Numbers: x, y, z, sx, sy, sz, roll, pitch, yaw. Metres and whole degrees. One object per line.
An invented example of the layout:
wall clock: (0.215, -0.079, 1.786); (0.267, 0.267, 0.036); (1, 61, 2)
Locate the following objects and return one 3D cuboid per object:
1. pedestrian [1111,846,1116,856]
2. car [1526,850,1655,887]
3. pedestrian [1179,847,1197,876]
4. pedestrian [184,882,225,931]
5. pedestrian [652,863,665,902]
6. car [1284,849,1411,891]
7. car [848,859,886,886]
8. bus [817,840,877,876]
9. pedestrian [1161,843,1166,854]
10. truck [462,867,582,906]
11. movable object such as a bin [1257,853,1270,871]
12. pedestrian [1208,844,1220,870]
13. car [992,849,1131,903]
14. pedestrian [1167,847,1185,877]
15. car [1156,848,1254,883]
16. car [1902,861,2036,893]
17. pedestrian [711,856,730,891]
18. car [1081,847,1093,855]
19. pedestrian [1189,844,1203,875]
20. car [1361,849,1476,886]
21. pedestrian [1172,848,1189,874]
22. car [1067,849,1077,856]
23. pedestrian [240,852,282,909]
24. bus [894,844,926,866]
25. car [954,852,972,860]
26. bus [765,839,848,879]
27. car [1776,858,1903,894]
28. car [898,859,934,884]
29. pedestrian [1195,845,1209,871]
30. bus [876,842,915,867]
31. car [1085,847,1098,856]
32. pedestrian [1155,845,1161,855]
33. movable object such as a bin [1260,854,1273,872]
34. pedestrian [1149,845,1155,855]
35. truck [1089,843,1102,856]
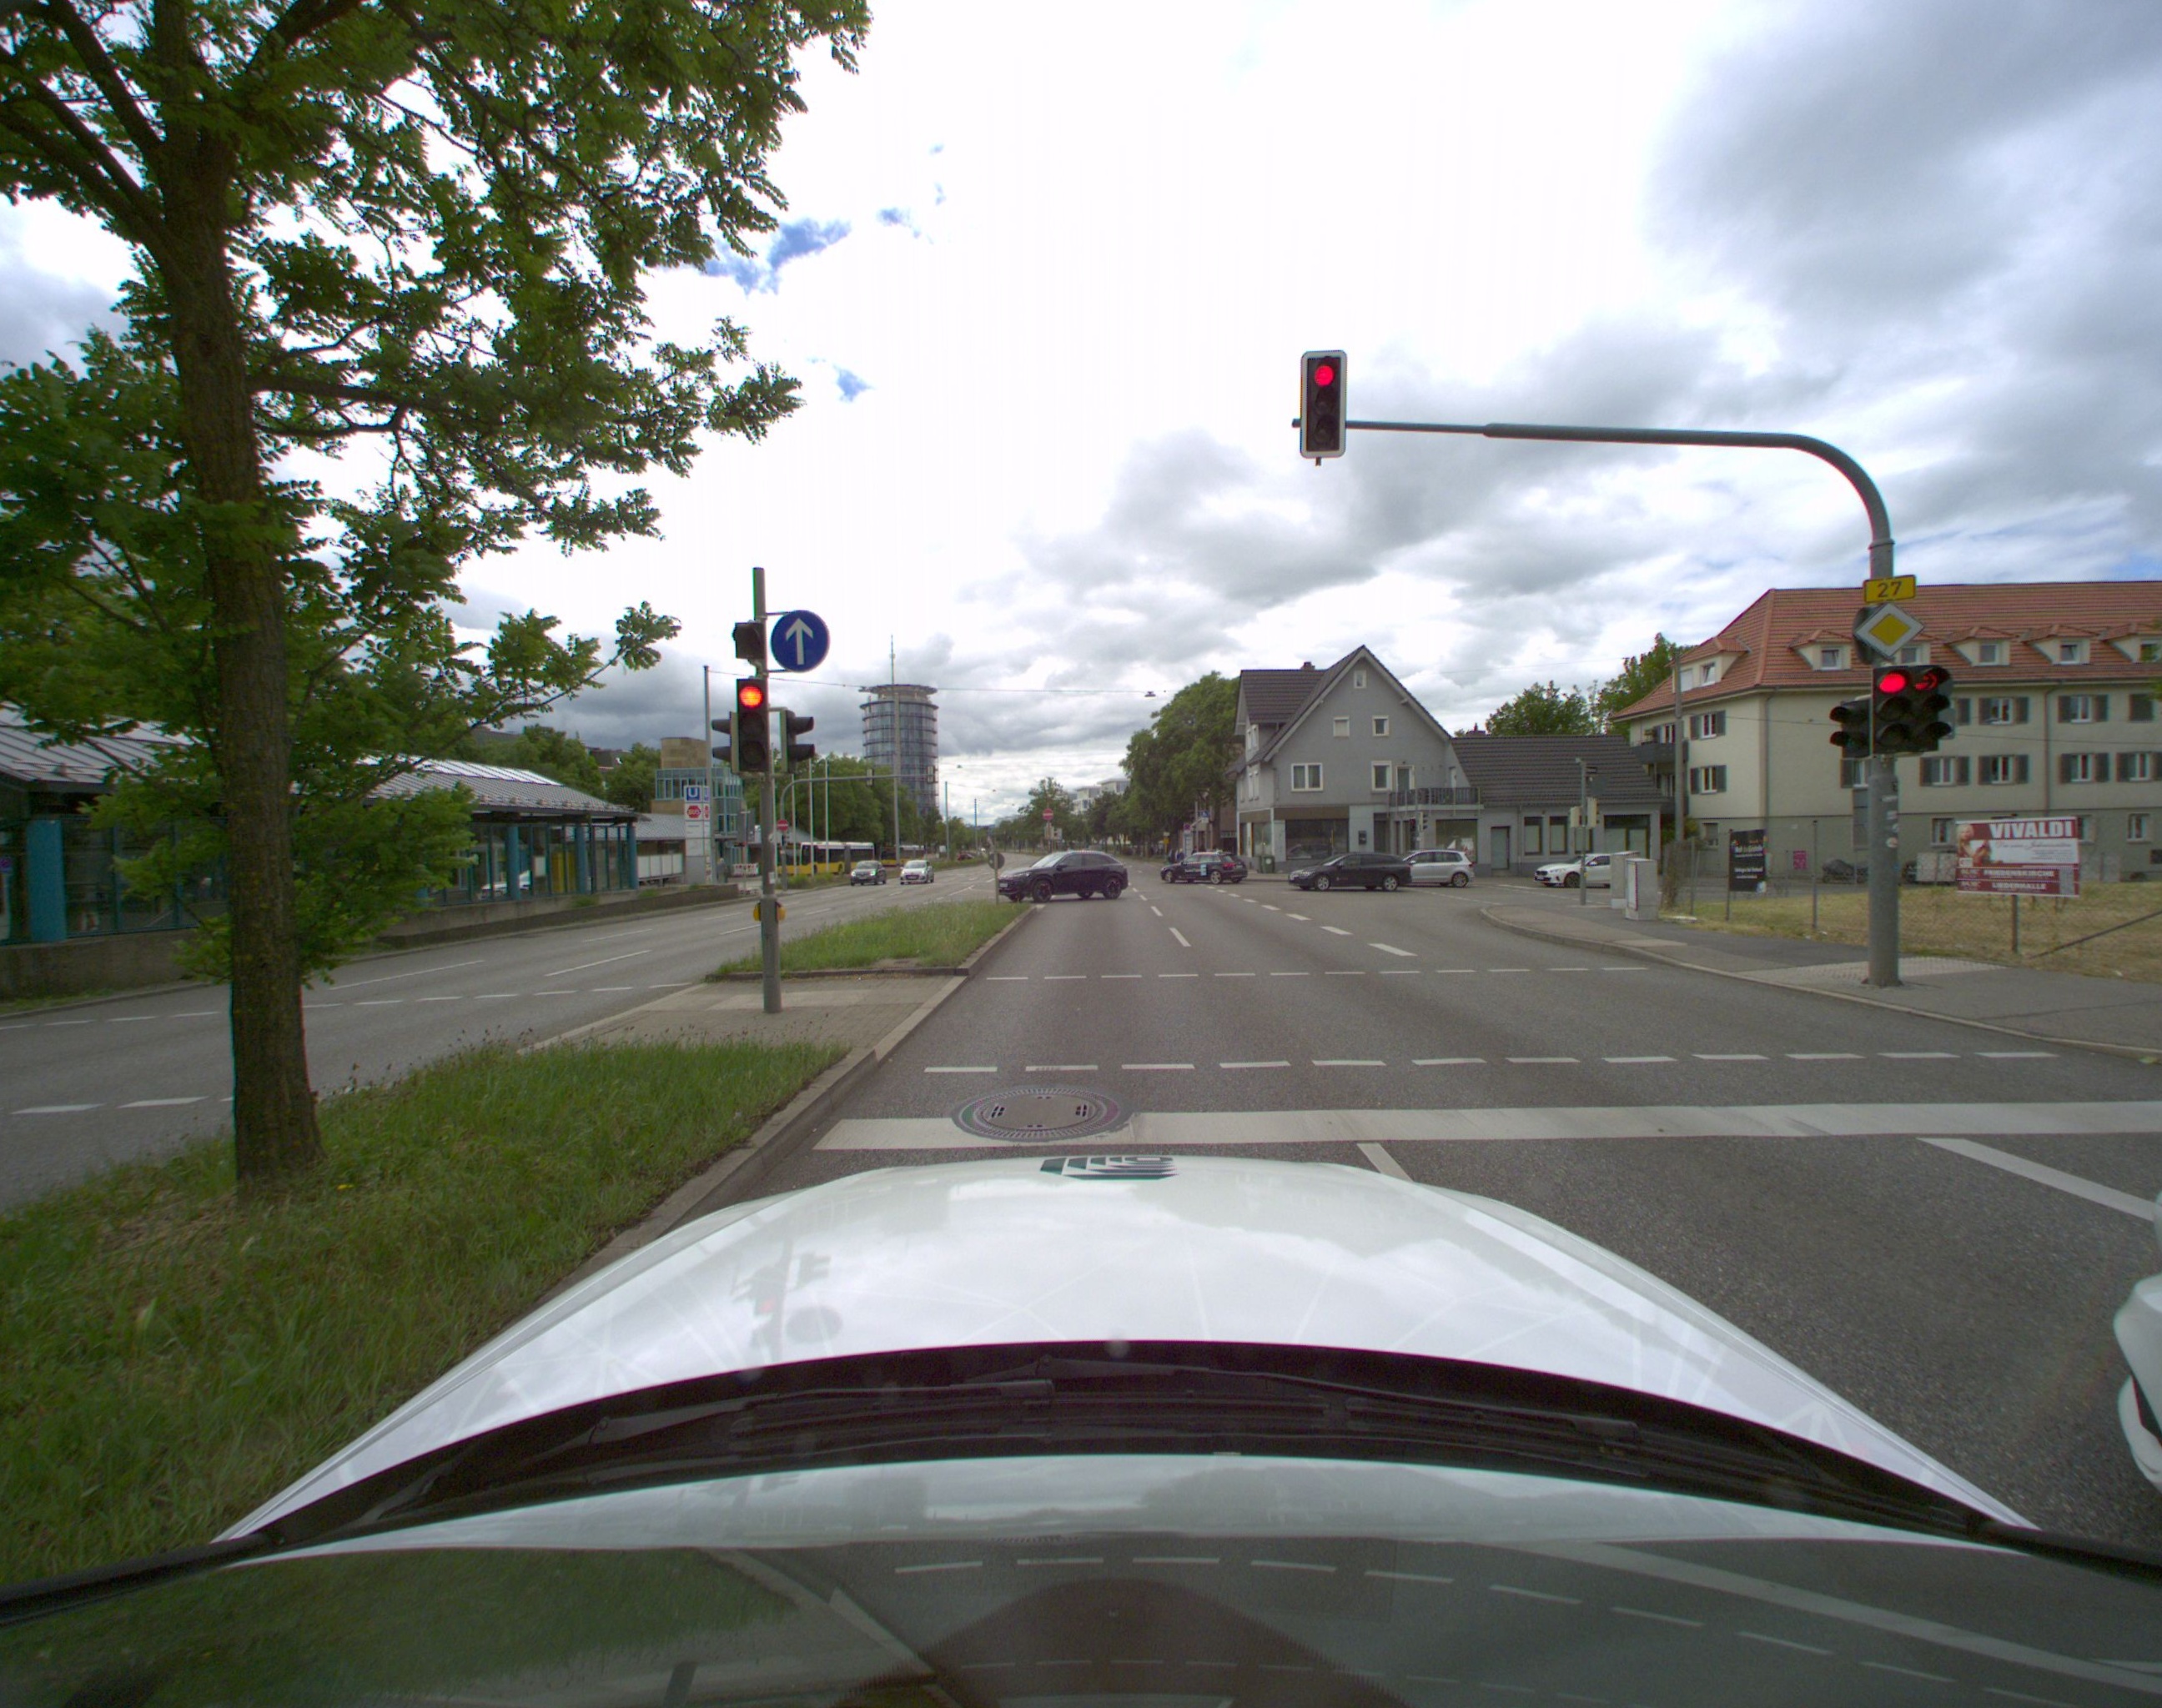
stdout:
pedestrian: (7.321, -0.708, 181.486); (0.930, 2.308, 1.008); (0, -1, -8)
car: (21.617, 0.590, 34.690); (4.227, 1.477, 2.000); (-1, 0, 1)
pedestrian: (6.864, 0.468, 52.041); (0.875, 1.780, 0.699); (-2, 0, -42)
pedestrian: (-28.650, 1.695, 26.627); (0.630, 1.571, 0.663); (-1, -1, 11)
pedestrian: (-17.434, 1.171, 33.586); (0.420, 1.591, 0.353); (-2, 0, -28)
car: (10.073, 0.572, 30.890); (4.267, 1.481, 1.712); (-1, 1, -5)
car: (-13.497, 1.147, 51.535); (1.681, 1.578, 3.344); (-2, 0, -4)
bus: (-23.358, 0.370, 81.869); (2.975, 3.270, 7.889); (-2, 0, 6)
pedestrian: (12.626, -0.851, 124.454); (0.649, 1.570, 0.669); (-2, 0, -6)
truck: (-25.211, 1.441, 36.902); (1.976, 1.517, 4.022); (-2, 0, 23)
movable object such as a bin: (10.033, 0.449, 44.751); (0.527, 0.979, 0.737); (-2, 0, 2)
pedestrian: (8.623, 0.174, 52.718); (0.700, 1.662, 0.873); (-2, 0, 11)
car: (-0.585, 0.646, 25.955); (4.088, 1.521, 1.822); (-2, 0, -34)
pedestrian: (5.741, 0.457, 49.231); (0.866, 1.780, 0.706); (-2, 0, -7)
car: (5.691, 0.543, 37.597); (4.046, 1.494, 1.907); (-2, 0, 42)
car: (39.808, 1.019, 36.582); (3.972, 1.377, 1.871); (0, 0, 2)
pedestrian: (-19.717, 1.050, 44.554); (0.658, 1.897, 0.686); (-2, 0, 1)
car: (1.280, -0.557, 174.109); (2.246, 1.647, 4.927); (-2, 0, -3)
pedestrian: (6.699, 0.315, 47.464); (0.701, 1.760, 1.054); (-2, 0, 7)
car: (14.111, 0.550, 34.192); (4.088, 1.540, 1.828); (0, 0, -1)
pedestrian: (5.919, 0.436, 48.480); (0.866, 1.507, 0.706); (-2, 0, -7)
car: (-1.920, -0.355, 173.475); (1.963, 1.420, 4.017); (-2, 0, -3)
pedestrian: (-24.493, 0.775, 24.336); (0.629, 1.667, 0.665); (-1, -1, 21)
bus: (-26.044, 0.124, 124.328); (3.134, 3.225, 7.765); (-2, 0, 0)
car: (-24.013, 0.450, 165.847); (3.543, 1.492, 1.706); (-2, 0, -4)
bus: (-24.329, 0.403, 72.869); (2.975, 3.250, 10.186); (-2, 0, 6)
car: (34.038, 0.982, 36.619); (3.972, 1.537, 1.871); (0, 0, 2)
car: (-10.344, 1.055, 51.324); (1.680, 1.462, 3.552); (-2, 0, -3)
pedestrian: (7.847, 0.229, 52.885); (0.700, 1.662, 0.874); (-2, 0, 16)
bus: (-26.102, 0.098, 115.319); (3.135, 3.225, 10.282); (-2, 0, 0)
car: (2.088, -0.473, 165.287); (2.246, 1.757, 4.928); (-2, 0, -3)
pedestrian: (11.760, -0.572, 124.558); (0.649, 1.570, 0.669); (-2, 0, -6)
movable object such as a bin: (10.027, 0.475, 43.960); (0.527, 0.979, 0.737); (-2, 0, 2)
pedestrian: (10.868, -0.629, 124.546); (0.649, 1.570, 0.669); (-2, 0, -6)
truck: (2.763, -0.816, 156.214); (2.246, 2.416, 4.928); (-1, 0, -3)
